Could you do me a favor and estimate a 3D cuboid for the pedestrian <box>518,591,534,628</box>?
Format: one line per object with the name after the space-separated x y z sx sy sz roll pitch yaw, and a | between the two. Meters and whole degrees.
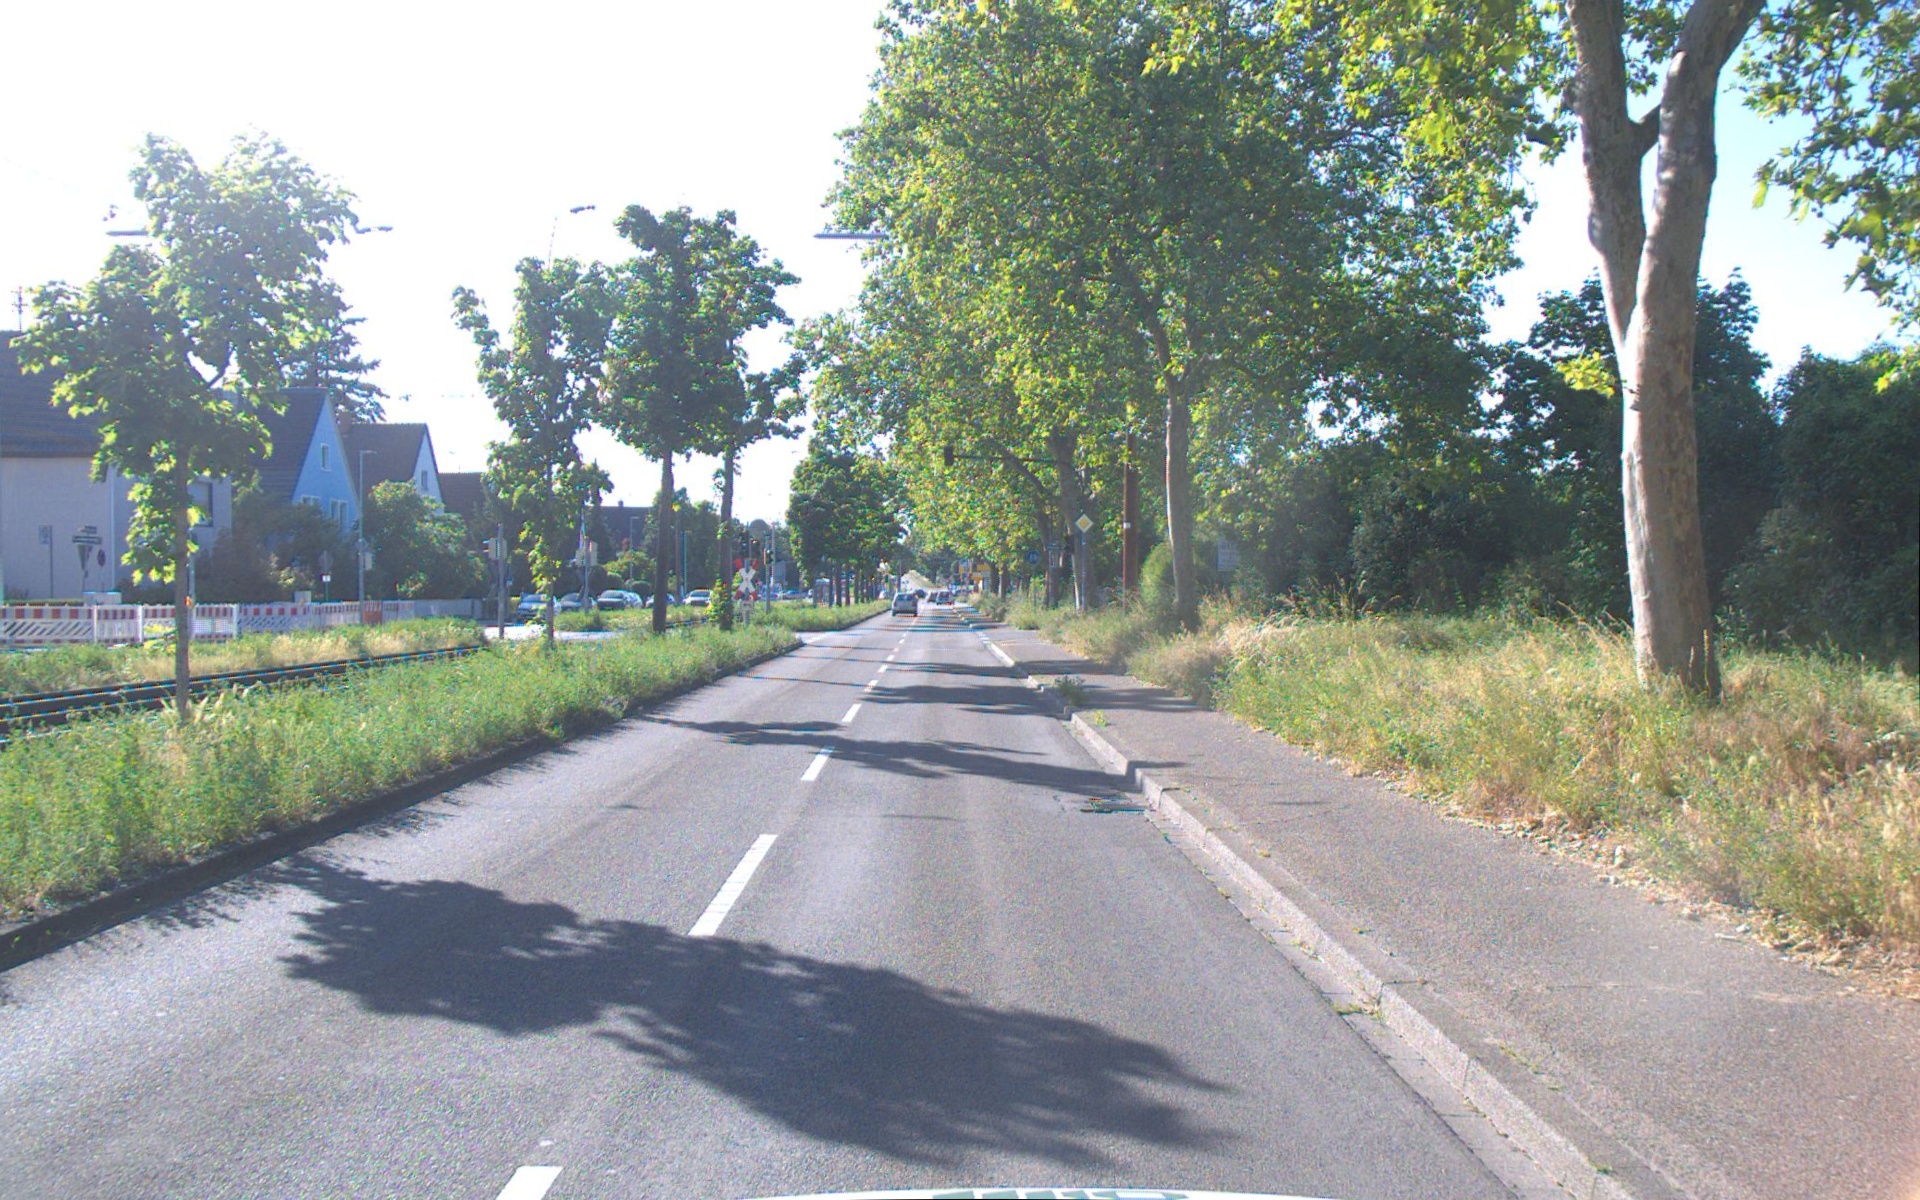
-24.679 0.529 94.142 0.667 2.049 0.772 1 0 -1 | pedestrian

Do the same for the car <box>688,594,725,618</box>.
-17.457 0.410 114.109 1.953 1.631 4.472 1 0 -1 | car

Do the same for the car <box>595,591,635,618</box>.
-22.326 0.279 107.089 1.712 1.679 4.554 1 0 -1 | car

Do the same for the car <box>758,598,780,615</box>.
-18.736 0.644 162.546 1.627 1.579 4.809 1 0 -1 | car

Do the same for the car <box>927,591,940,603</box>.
-3.634 -0.455 225.337 1.755 1.586 4.227 1 0 -1 | car

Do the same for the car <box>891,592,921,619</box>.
-3.439 0.342 105.077 1.822 1.629 4.227 1 0 -1 | car

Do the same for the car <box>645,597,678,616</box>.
-22.725 0.500 126.080 1.822 1.393 4.227 1 0 -1 | car

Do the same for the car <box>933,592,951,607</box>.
-1.949 -0.070 179.158 1.953 1.631 4.472 1 0 -1 | car

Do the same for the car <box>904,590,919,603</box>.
-6.632 -0.493 225.136 1.953 1.631 4.472 1 0 -1 | car

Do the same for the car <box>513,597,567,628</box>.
-22.045 0.636 86.886 1.822 1.569 4.227 1 0 -1 | car

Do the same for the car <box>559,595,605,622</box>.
-21.856 0.507 95.765 1.694 1.491 4.601 1 0 -1 | car
